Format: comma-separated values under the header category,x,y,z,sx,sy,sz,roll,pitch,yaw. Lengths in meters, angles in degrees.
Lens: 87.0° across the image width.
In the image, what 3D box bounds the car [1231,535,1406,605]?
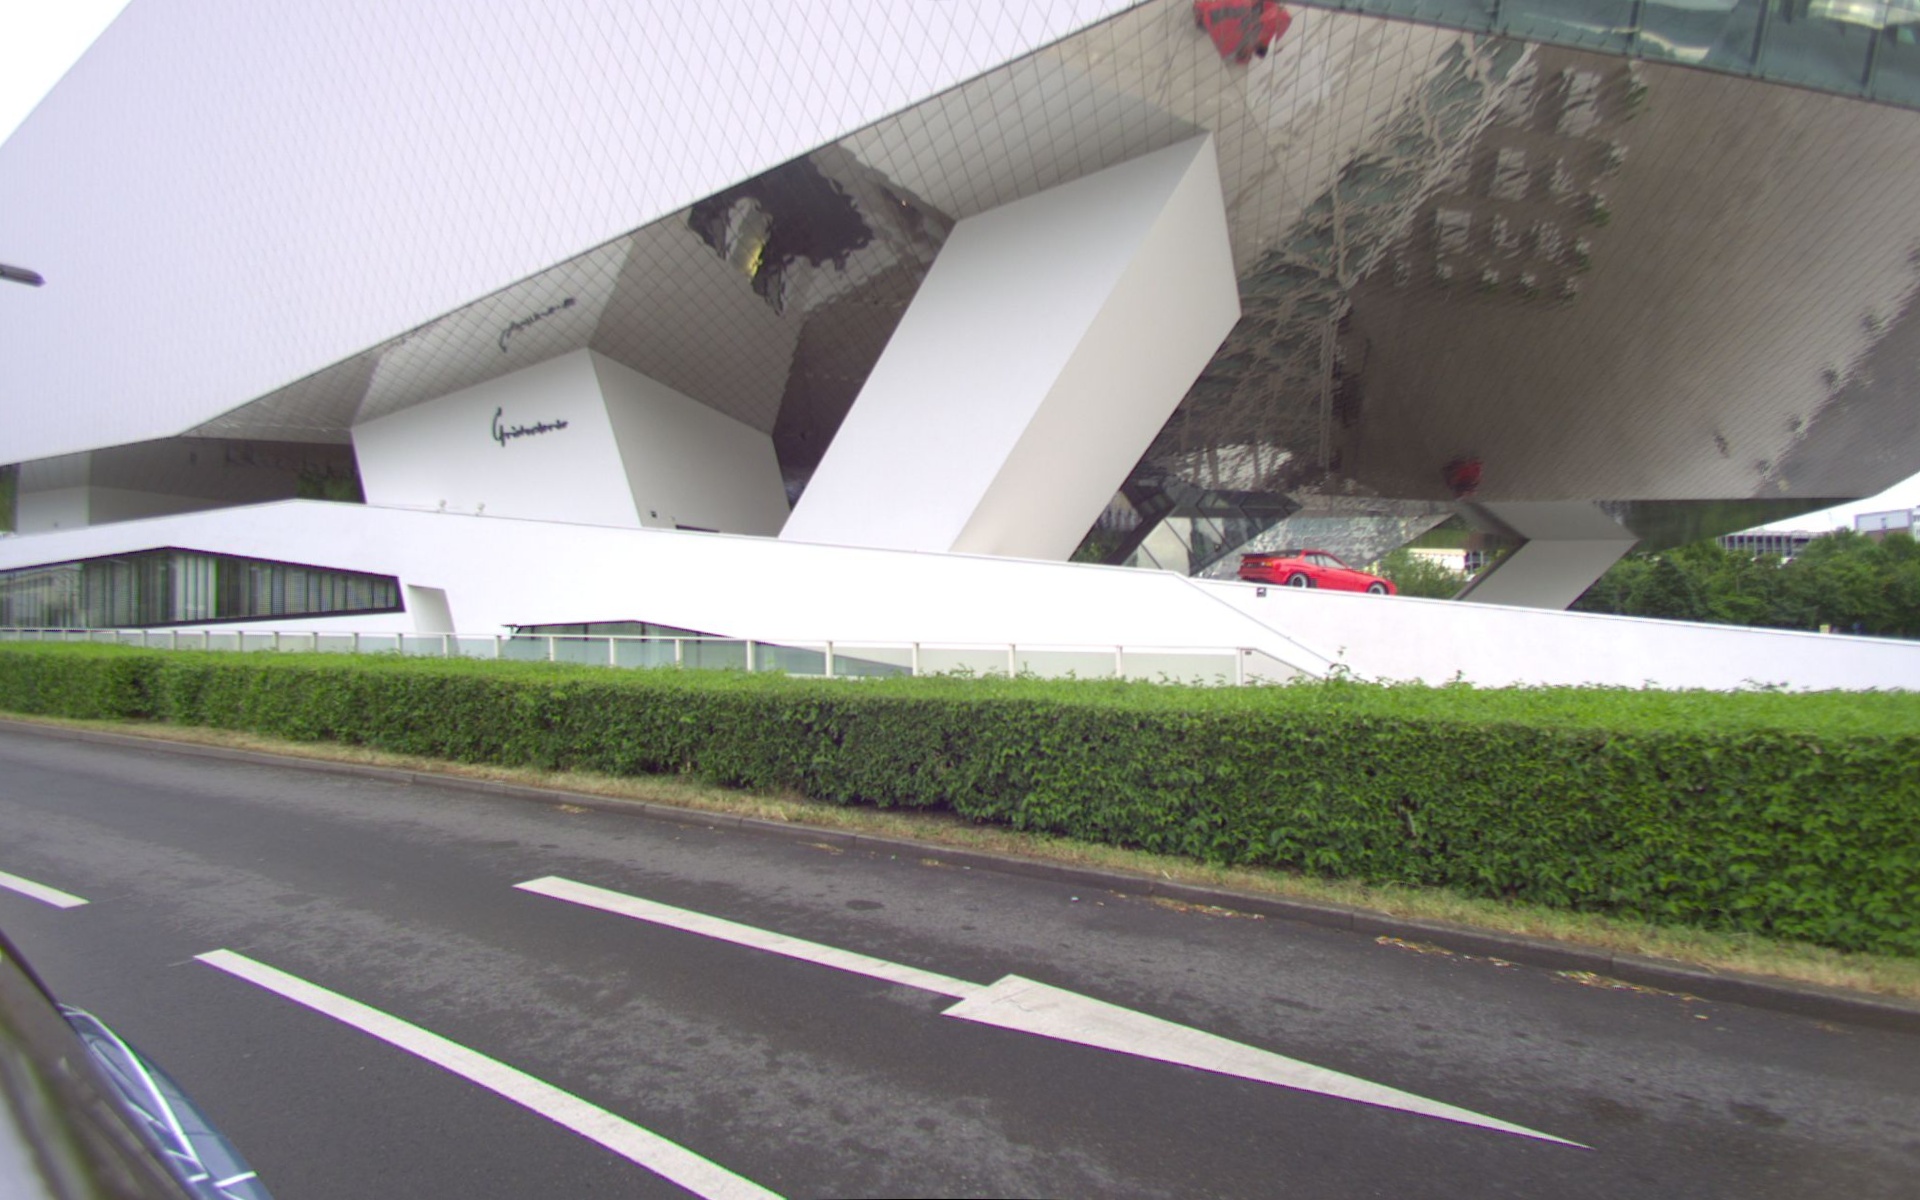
category,x,y,z,sx,sy,sz,roll,pitch,yaw
car,9.422,-0.742,26.650,4.033,1.252,1.643,7,-4,-14
